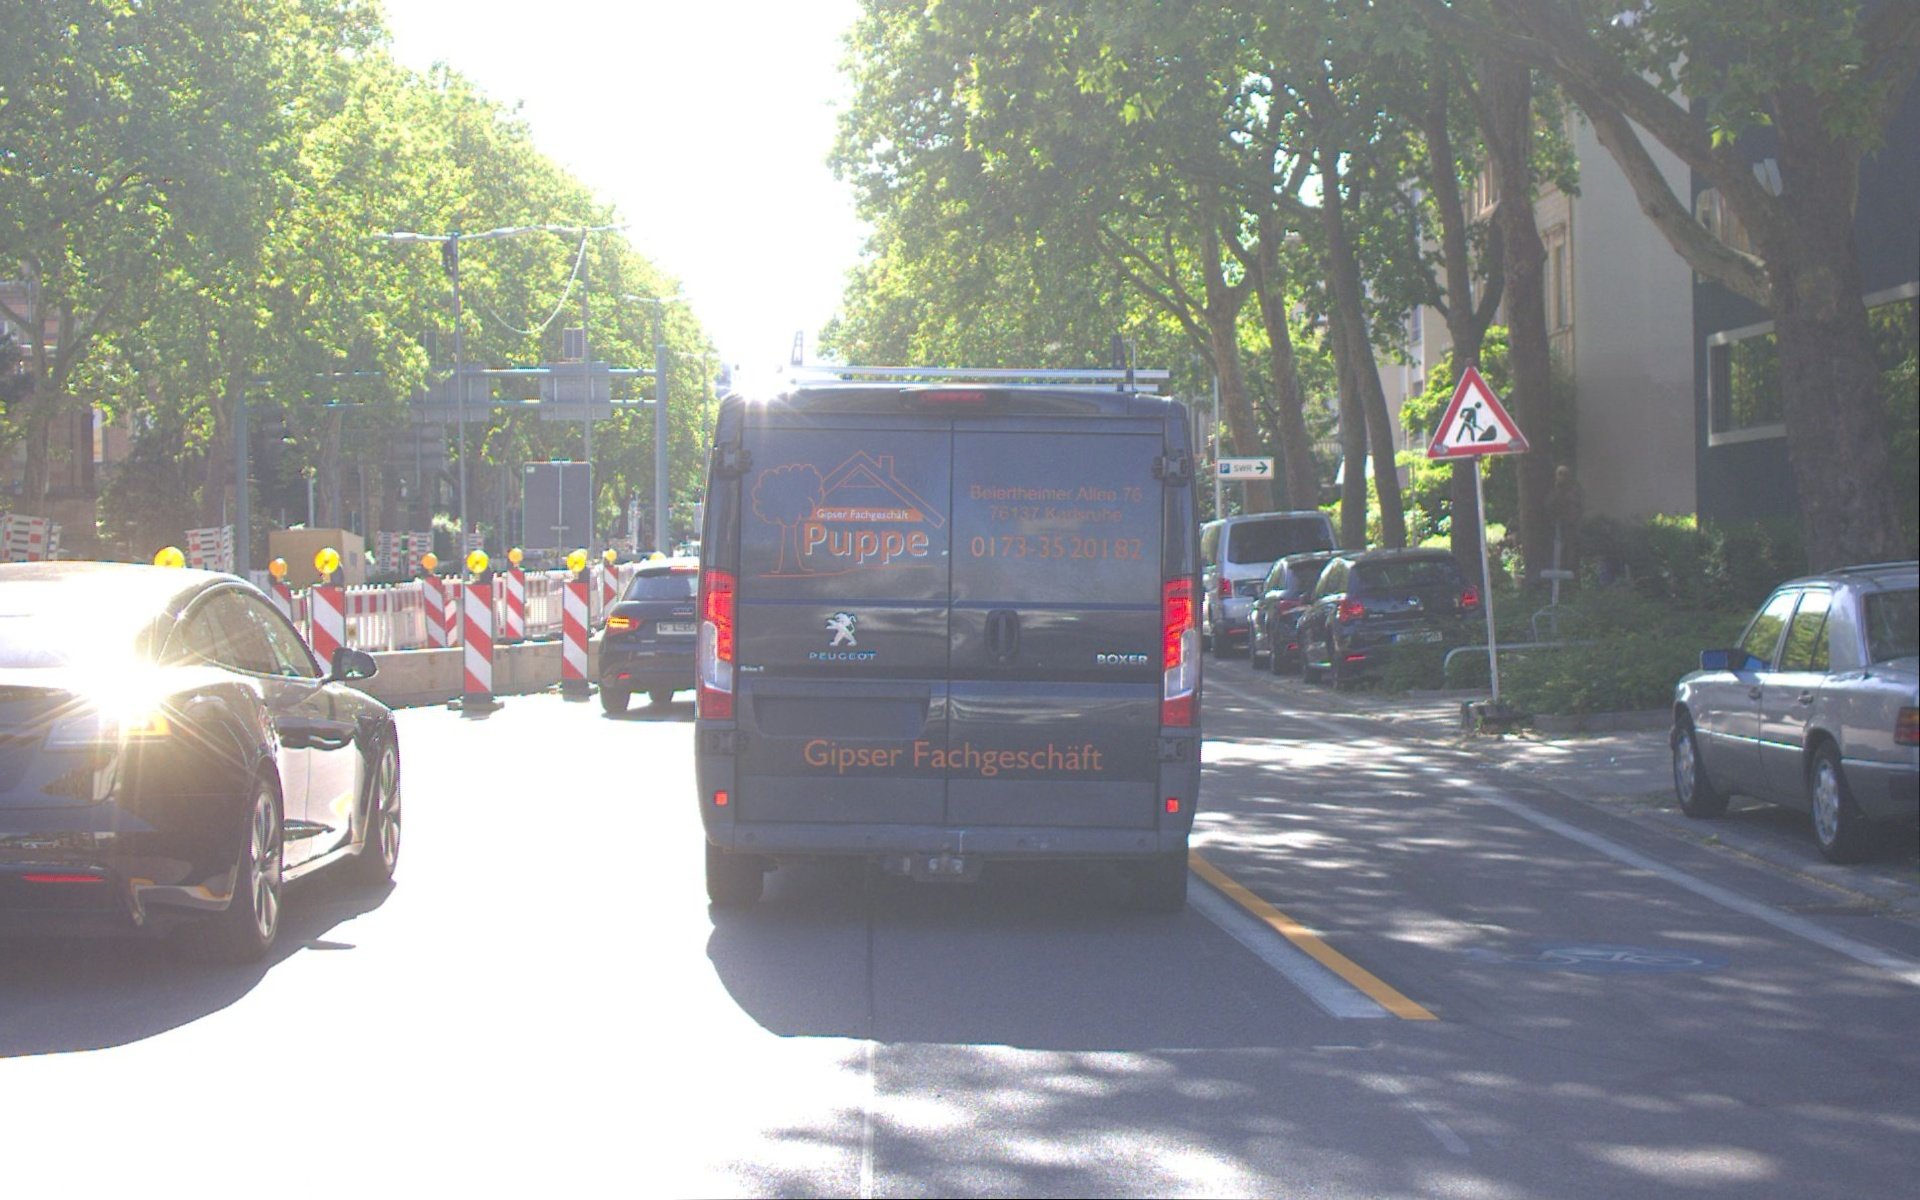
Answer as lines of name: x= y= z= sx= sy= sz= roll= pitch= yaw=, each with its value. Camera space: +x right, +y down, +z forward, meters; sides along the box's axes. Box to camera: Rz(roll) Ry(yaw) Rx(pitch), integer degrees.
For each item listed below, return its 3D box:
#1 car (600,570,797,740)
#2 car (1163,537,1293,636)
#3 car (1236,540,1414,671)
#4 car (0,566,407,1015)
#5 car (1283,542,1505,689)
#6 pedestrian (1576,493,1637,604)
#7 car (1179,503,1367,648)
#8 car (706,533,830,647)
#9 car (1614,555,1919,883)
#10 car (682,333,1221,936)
car: x=-2.448 y=0.477 z=32.737 sx=1.746 sy=1.402 sz=4.001 roll=0 pitch=2 yaw=-3
car: x=4.238 y=-0.241 z=54.908 sx=1.748 sy=1.472 sz=4.101 roll=-1 pitch=1 yaw=0
car: x=4.453 y=0.034 z=42.475 sx=1.657 sy=1.535 sz=4.129 roll=0 pitch=1 yaw=-1
car: x=-3.493 y=0.611 z=13.530 sx=1.925 sy=1.407 sz=4.626 roll=-1 pitch=1 yaw=-1
car: x=4.664 y=0.129 z=37.487 sx=1.763 sy=1.503 sz=4.251 roll=0 pitch=1 yaw=-1
pedestrian: x=9.849 y=-0.795 z=52.408 sx=0.705 sy=1.643 sz=0.675 roll=2 pitch=3 yaw=-4
car: x=4.409 y=-0.366 z=49.159 sx=2.025 sy=1.940 sz=5.274 roll=-1 pitch=1 yaw=-2
car: x=-2.505 y=-0.143 z=45.164 sx=1.547 sy=1.420 sz=3.555 roll=-1 pitch=1 yaw=-3
car: x=4.987 y=0.511 z=18.264 sx=1.852 sy=1.474 sz=4.943 roll=0 pitch=1 yaw=-3
car: x=-0.076 y=0.082 z=15.355 sx=2.095 sy=2.347 sz=3.933 roll=0 pitch=1 yaw=-1
